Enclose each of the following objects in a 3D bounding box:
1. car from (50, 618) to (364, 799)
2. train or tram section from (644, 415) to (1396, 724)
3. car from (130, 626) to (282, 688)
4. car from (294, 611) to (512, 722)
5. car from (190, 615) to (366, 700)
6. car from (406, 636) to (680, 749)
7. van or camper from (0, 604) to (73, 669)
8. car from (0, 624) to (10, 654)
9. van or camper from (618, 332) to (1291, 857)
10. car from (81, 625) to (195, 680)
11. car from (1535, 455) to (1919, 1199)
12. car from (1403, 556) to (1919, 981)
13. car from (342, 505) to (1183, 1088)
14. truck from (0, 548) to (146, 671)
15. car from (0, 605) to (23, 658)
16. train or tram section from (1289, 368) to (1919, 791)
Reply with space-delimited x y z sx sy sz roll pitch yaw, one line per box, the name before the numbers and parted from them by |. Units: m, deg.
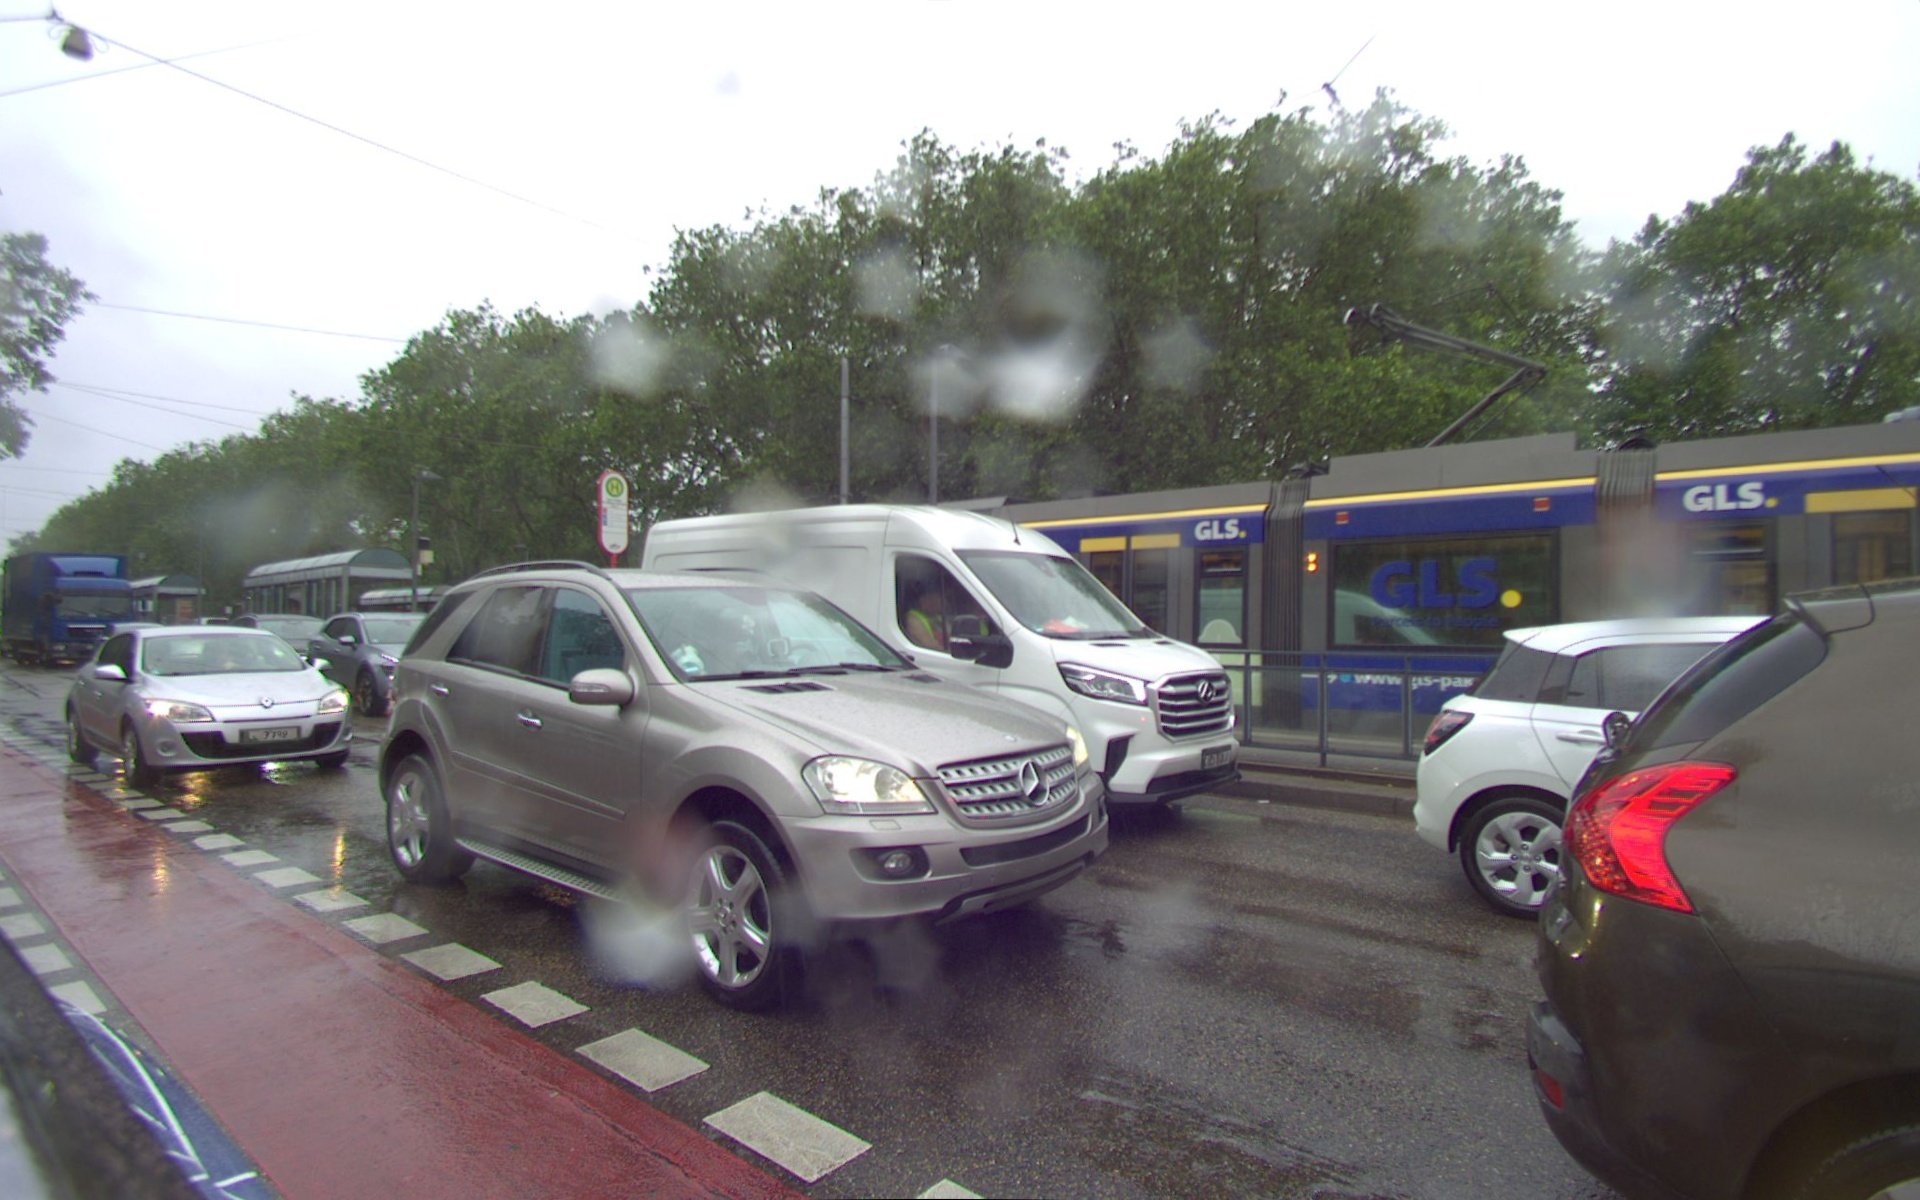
car | -7.866 0.951 10.446 3.998 1.489 1.750 -1 -1 40
train or tram section | -0.156 -0.268 17.437 13.652 3.539 3.476 -1 0 41
car | -18.847 1.378 25.214 4.602 1.405 1.973 -1 -3 40
car | -9.524 1.037 17.143 4.454 1.636 1.894 -1 -2 43
car | -14.665 1.160 21.689 4.316 1.633 1.974 -1 -2 40
car | -5.279 1.041 12.562 4.084 1.126 1.448 -1 -1 40
van or camper | -40.060 1.511 43.558 6.427 2.590 1.973 -1 0 41
car | -52.370 2.085 54.079 3.998 1.589 1.973 -1 -1 41
van or camper | -0.386 0.029 8.799 5.846 3.166 2.136 -1 -2 40
car | -24.518 1.507 30.151 4.074 1.498 1.871 -1 -2 40
car | 3.268 0.590 1.246 4.170 1.681 1.815 -1 -1 41
car | 4.246 0.664 4.538 3.834 1.641 1.628 -1 -2 41
car | -1.321 0.633 5.318 4.459 1.783 2.004 -1 -1 40
truck | -32.176 0.445 36.360 9.803 3.919 2.513 -1 -3 40
car | -46.889 1.504 48.901 5.727 2.445 1.972 -1 0 43
train or tram section | 10.806 -0.229 7.927 15.495 3.439 3.504 -1 0 41
